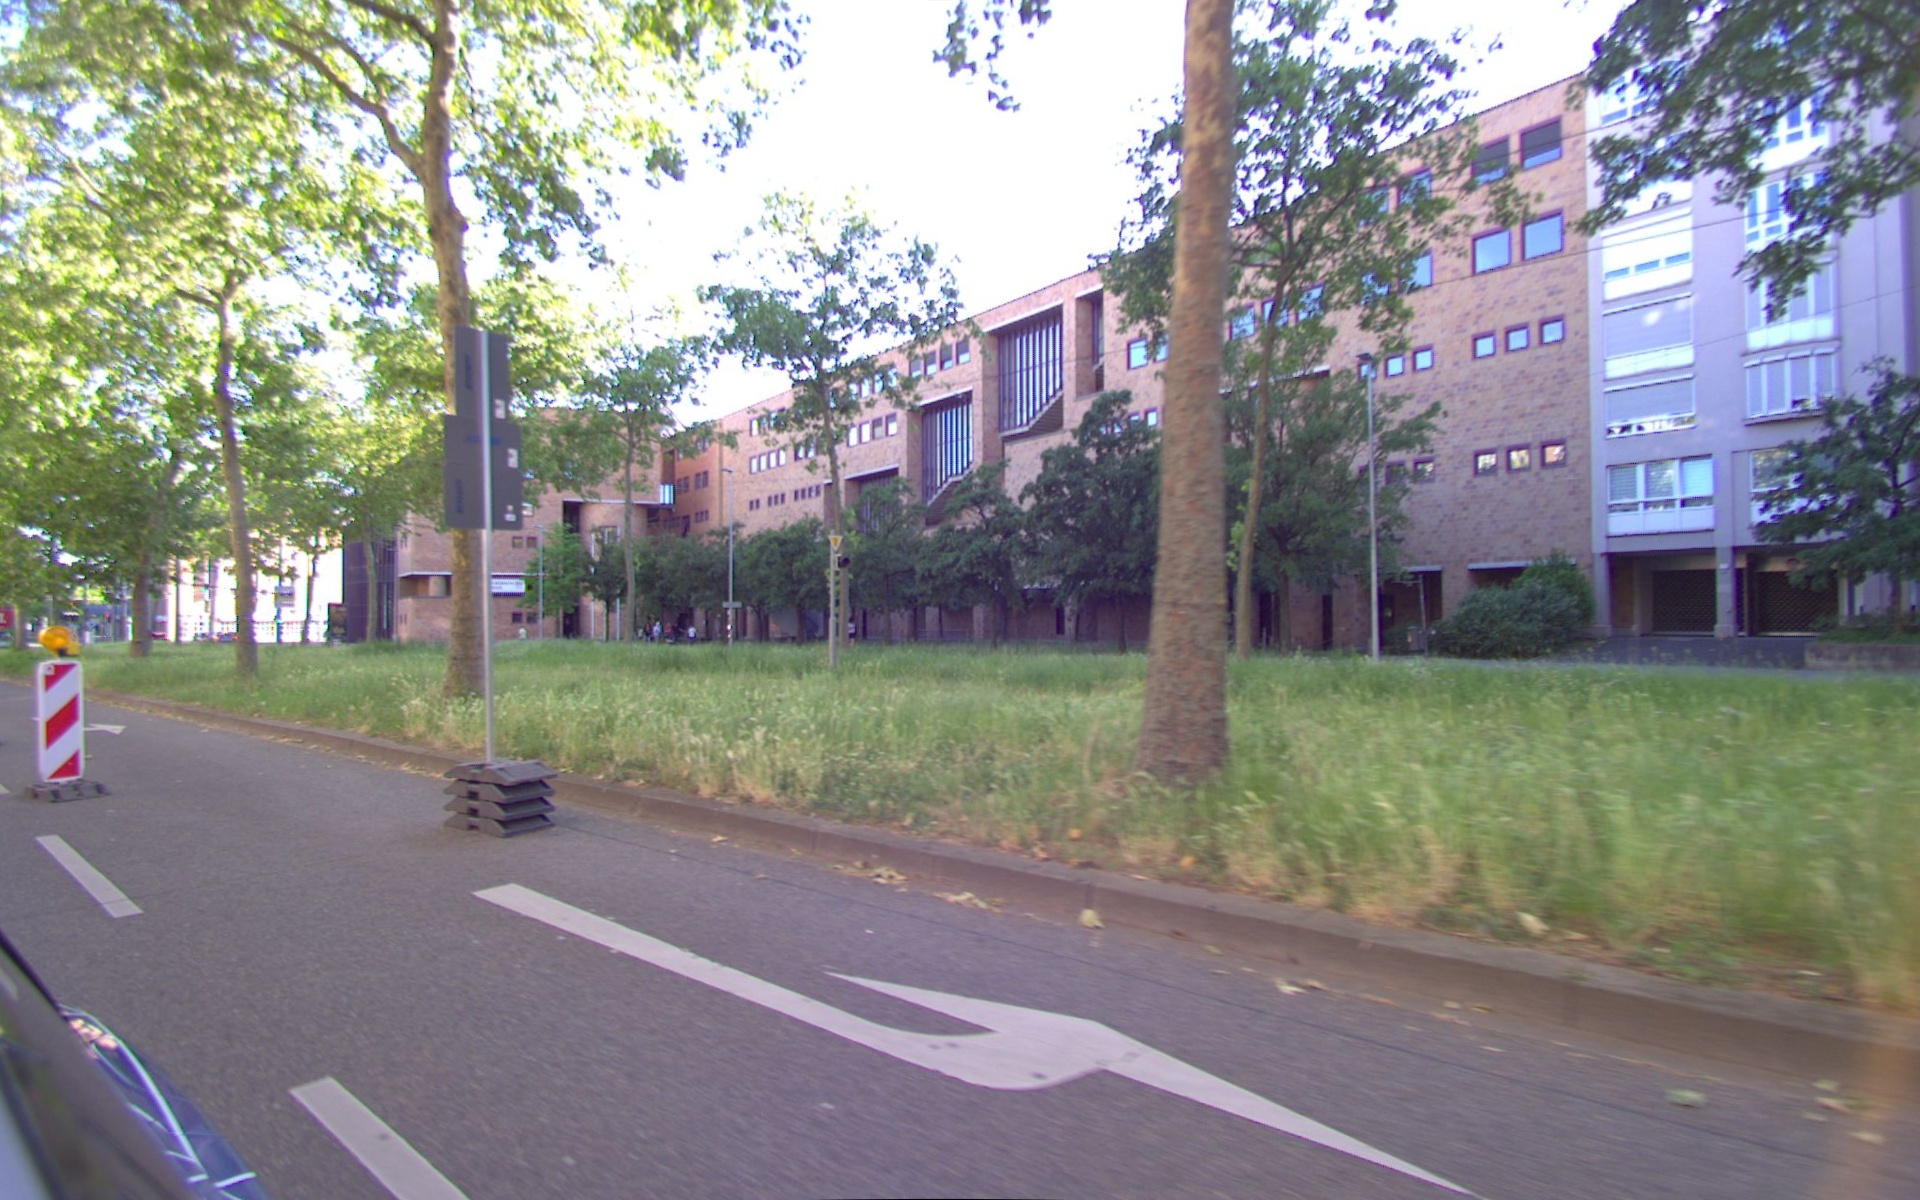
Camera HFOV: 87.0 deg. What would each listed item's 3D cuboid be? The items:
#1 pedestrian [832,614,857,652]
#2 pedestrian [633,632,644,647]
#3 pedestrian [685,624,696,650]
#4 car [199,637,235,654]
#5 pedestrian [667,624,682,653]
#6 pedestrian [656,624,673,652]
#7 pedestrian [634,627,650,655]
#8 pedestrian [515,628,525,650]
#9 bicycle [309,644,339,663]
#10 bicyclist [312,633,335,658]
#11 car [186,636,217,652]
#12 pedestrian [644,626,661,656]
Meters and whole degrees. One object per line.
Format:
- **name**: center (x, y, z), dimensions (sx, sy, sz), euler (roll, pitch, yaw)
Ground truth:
- **pedestrian**: center (-5.577, 1.588, 48.843), dimensions (0.899, 1.845, 0.817), euler (-2, -2, 35)
- **pedestrian**: center (-26.137, 3.185, 82.262), dimensions (0.628, 1.207, 0.659), euler (-2, -2, 32)
- **pedestrian**: center (-16.054, 2.188, 60.220), dimensions (0.477, 1.517, 0.464), euler (1, -2, -43)
- **car**: center (-65.462, 4.041, 89.179), dimensions (4.147, 1.440, 1.653), euler (-2, -2, 41)
- **pedestrian**: center (-16.929, 2.299, 60.009), dimensions (0.596, 1.692, 0.604), euler (-2, -2, 41)
- **pedestrian**: center (-17.428, 2.243, 59.669), dimensions (0.756, 1.629, 0.657), euler (-2, -2, 41)
- **pedestrian**: center (-18.939, 2.431, 60.265), dimensions (0.756, 1.629, 0.657), euler (-2, -2, 41)
- **pedestrian**: center (-31.243, 2.779, 71.847), dimensions (0.651, 1.555, 0.413), euler (-2, -2, 33)
- **bicycle**: center (-40.192, 3.351, 63.944), dimensions (2.436, 1.134, 0.946), euler (-1, -1, 43)
- **bicyclist**: center (-40.227, 2.862, 63.971), dimensions (1.209, 1.583, 0.931), euler (-2, -2, 42)
- **car**: center (-69.992, 4.051, 93.356), dimensions (3.220, 1.440, 1.596), euler (-2, -2, 41)
- **pedestrian**: center (-17.938, 2.402, 59.075), dimensions (0.796, 1.735, 0.657), euler (-2, -2, 41)
